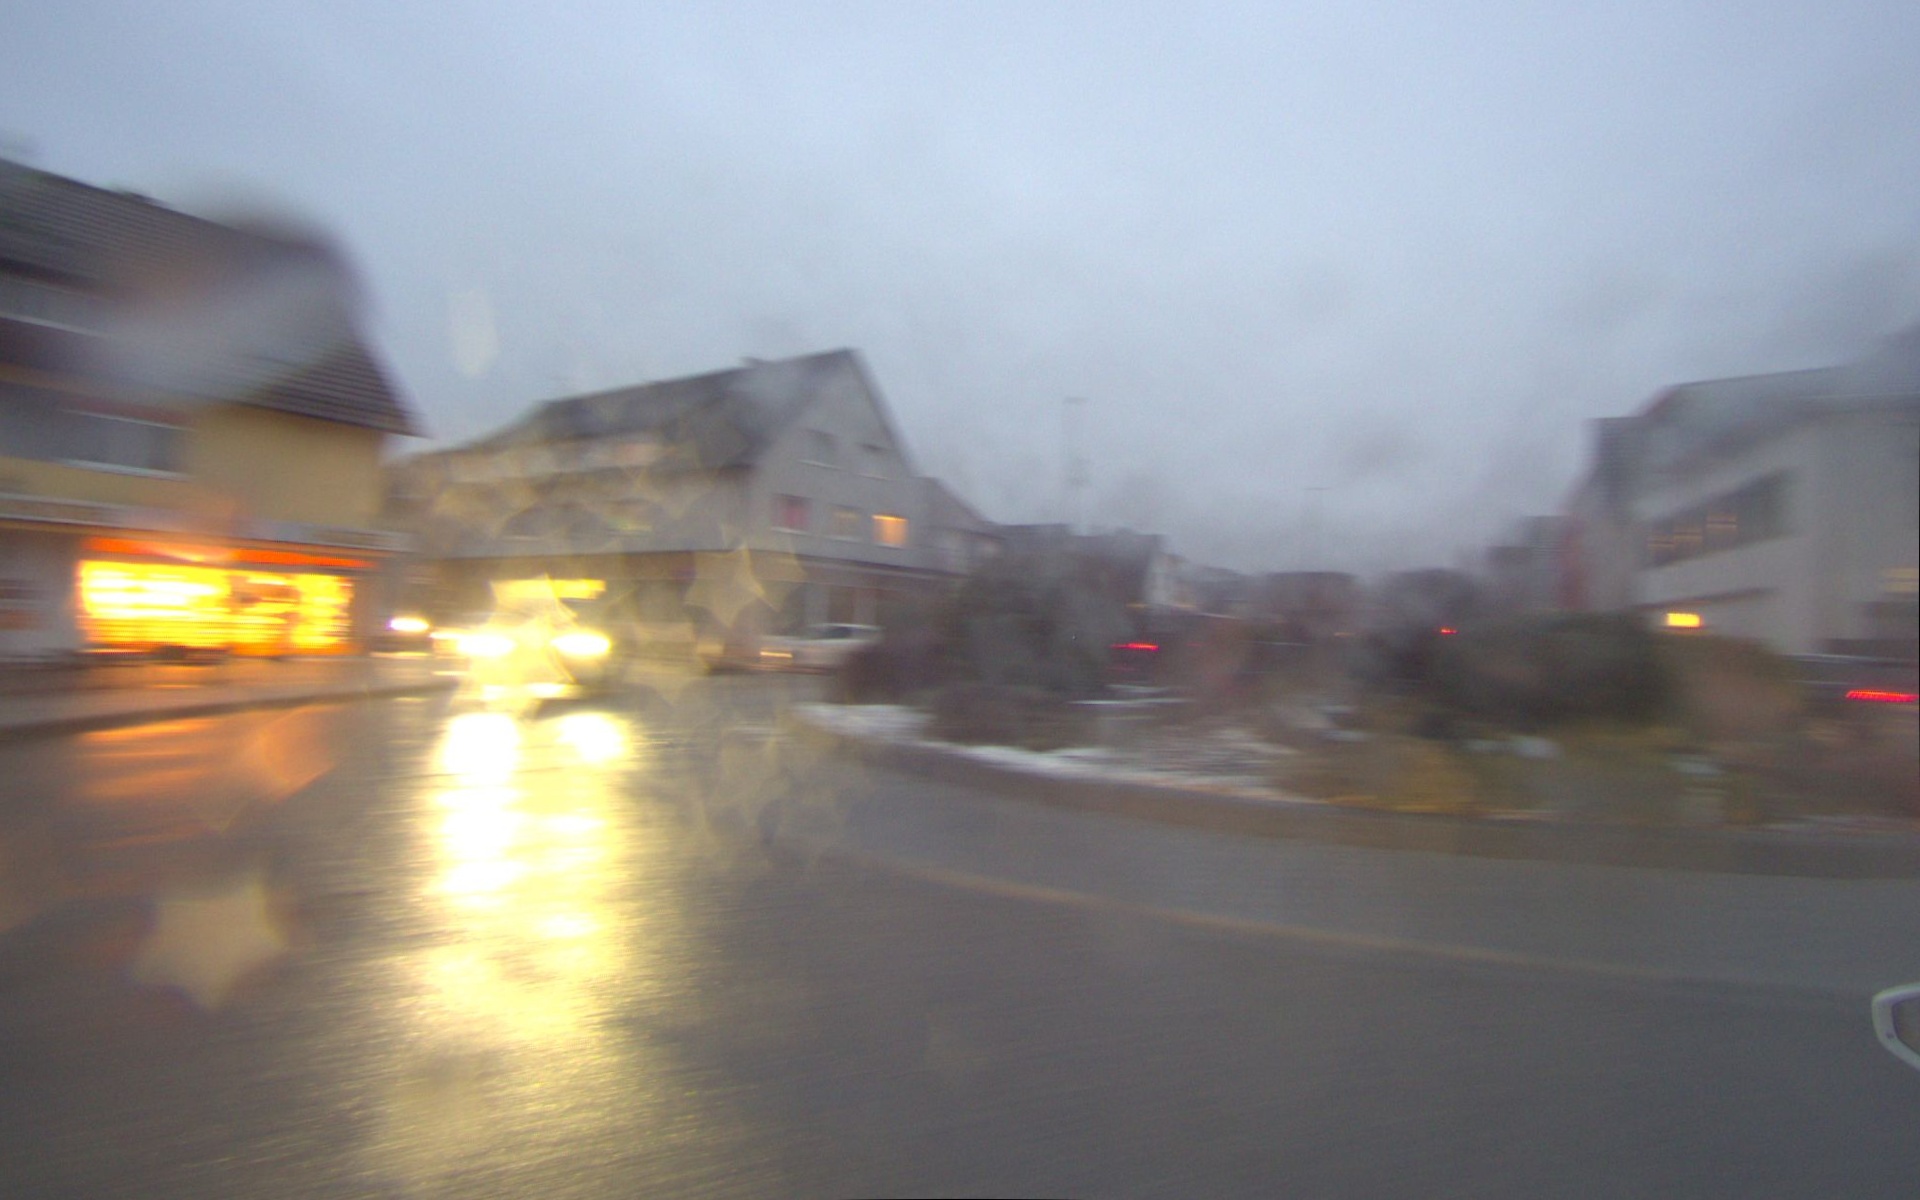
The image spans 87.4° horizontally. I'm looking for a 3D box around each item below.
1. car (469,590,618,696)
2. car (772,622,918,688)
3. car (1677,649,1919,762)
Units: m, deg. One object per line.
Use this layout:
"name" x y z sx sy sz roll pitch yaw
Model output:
"car" -7.162 0.761 17.724 1.922 1.614 4.617 1 -3 -17
"car" -3.255 1.501 28.319 3.831 1.658 1.648 1 -2 28
"car" 15.290 1.788 17.954 1.886 1.636 3.947 2 -1 -5
